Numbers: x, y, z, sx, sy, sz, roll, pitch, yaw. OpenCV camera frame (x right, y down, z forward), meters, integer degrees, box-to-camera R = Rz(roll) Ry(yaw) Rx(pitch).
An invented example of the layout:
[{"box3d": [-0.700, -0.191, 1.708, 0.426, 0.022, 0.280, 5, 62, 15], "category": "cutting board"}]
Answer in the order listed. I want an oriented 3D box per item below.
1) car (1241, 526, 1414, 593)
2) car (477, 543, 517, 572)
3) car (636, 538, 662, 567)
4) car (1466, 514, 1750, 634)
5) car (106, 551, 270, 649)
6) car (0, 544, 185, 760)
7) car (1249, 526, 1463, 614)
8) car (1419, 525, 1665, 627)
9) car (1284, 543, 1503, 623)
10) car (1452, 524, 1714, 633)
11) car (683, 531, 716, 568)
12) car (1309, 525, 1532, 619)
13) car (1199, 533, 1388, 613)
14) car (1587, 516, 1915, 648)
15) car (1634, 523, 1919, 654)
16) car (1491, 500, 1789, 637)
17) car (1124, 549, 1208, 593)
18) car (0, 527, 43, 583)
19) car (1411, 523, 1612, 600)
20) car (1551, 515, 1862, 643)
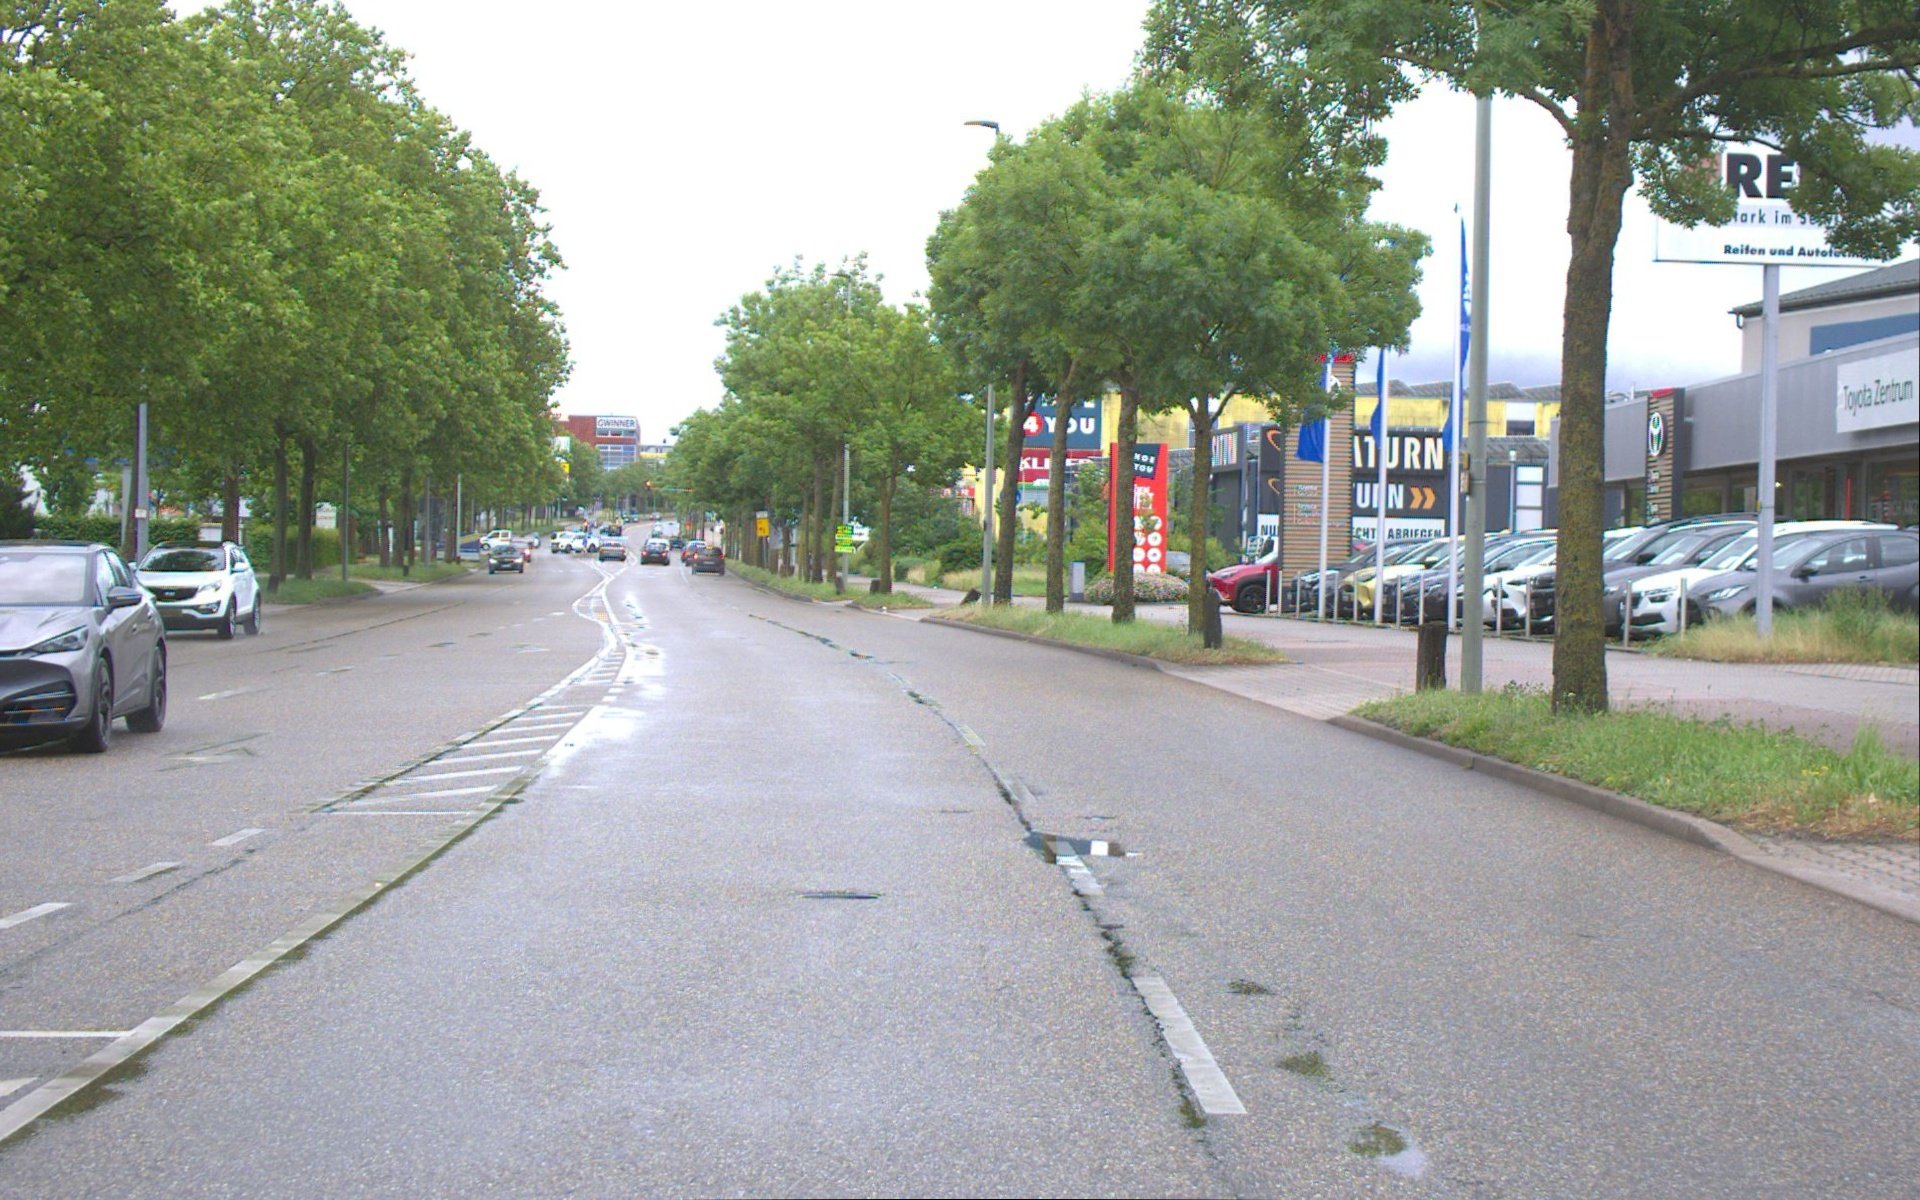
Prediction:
[{"box3d": [11.183, -1.225, 104.720, 4.820, 2.007, 1.991, 0, 0, -14], "category": "car"}, {"box3d": [-23.800, -2.187, 176.825, 1.803, 1.458, 3.846, 0, 1, -5], "category": "car"}, {"box3d": [-21.948, -3.373, 243.030, 1.745, 2.007, 4.001, 0, 1, -4], "category": "car"}, {"box3d": [10.278, -0.437, 54.690, 3.986, 1.582, 1.812, -4, 2, -6], "category": "car"}, {"box3d": [-13.210, -0.017, 59.056, 1.928, 1.614, 4.399, 0, 0, -2], "category": "car"}, {"box3d": [-7.363, 0.355, 26.984, 1.811, 1.556, 4.599, 0, 0, -4], "category": "car"}, {"box3d": [7.976, -0.615, 69.433, 3.986, 1.641, 1.845, -1, 1, -4], "category": "car"}, {"box3d": [10.291, -0.436, 60.965, 3.986, 1.780, 1.812, 0, 1, -2], "category": "car"}, {"box3d": [8.495, -0.346, 67.579, 3.986, 1.533, 1.800, 0, 1, -5], "category": "car"}, {"box3d": [10.372, -0.372, 57.422, 3.986, 1.780, 1.812, 0, 1, -2], "category": "car"}, {"box3d": [-14.404, -2.783, 190.326, 1.745, 2.007, 4.001, 0, 1, -4], "category": "car"}, {"box3d": [8.731, -0.542, 65.370, 3.838, 1.560, 1.667, -3, 1, -7], "category": "car"}, {"box3d": [7.323, -0.602, 75.734, 3.840, 1.598, 1.796, -2, 1, -4], "category": "car"}, {"box3d": [10.883, -0.263, 47.454, 3.987, 1.538, 1.812, -4, 1, -2], "category": "car"}, {"box3d": [10.979, -0.169, 44.908, 3.832, 1.456, 1.828, -3, 1, -5], "category": "car"}, {"box3d": [10.226, -0.483, 51.860, 3.987, 1.780, 1.812, -4, 1, -2], "category": "car"}, {"box3d": [6.941, -0.990, 116.259, 1.577, 1.423, 4.267, 0, 1, -15], "category": "car"}, {"box3d": [-25.907, -1.225, 92.524, 1.823, 1.481, 3.940, 0, 1, -6], "category": "car"}, {"box3d": [12.180, -0.851, 76.046, 4.109, 1.616, 1.881, -1, 1, 0], "category": "car"}, {"box3d": [10.784, -0.314, 49.832, 3.987, 1.579, 1.812, -4, 1, -2], "category": "car"}]
